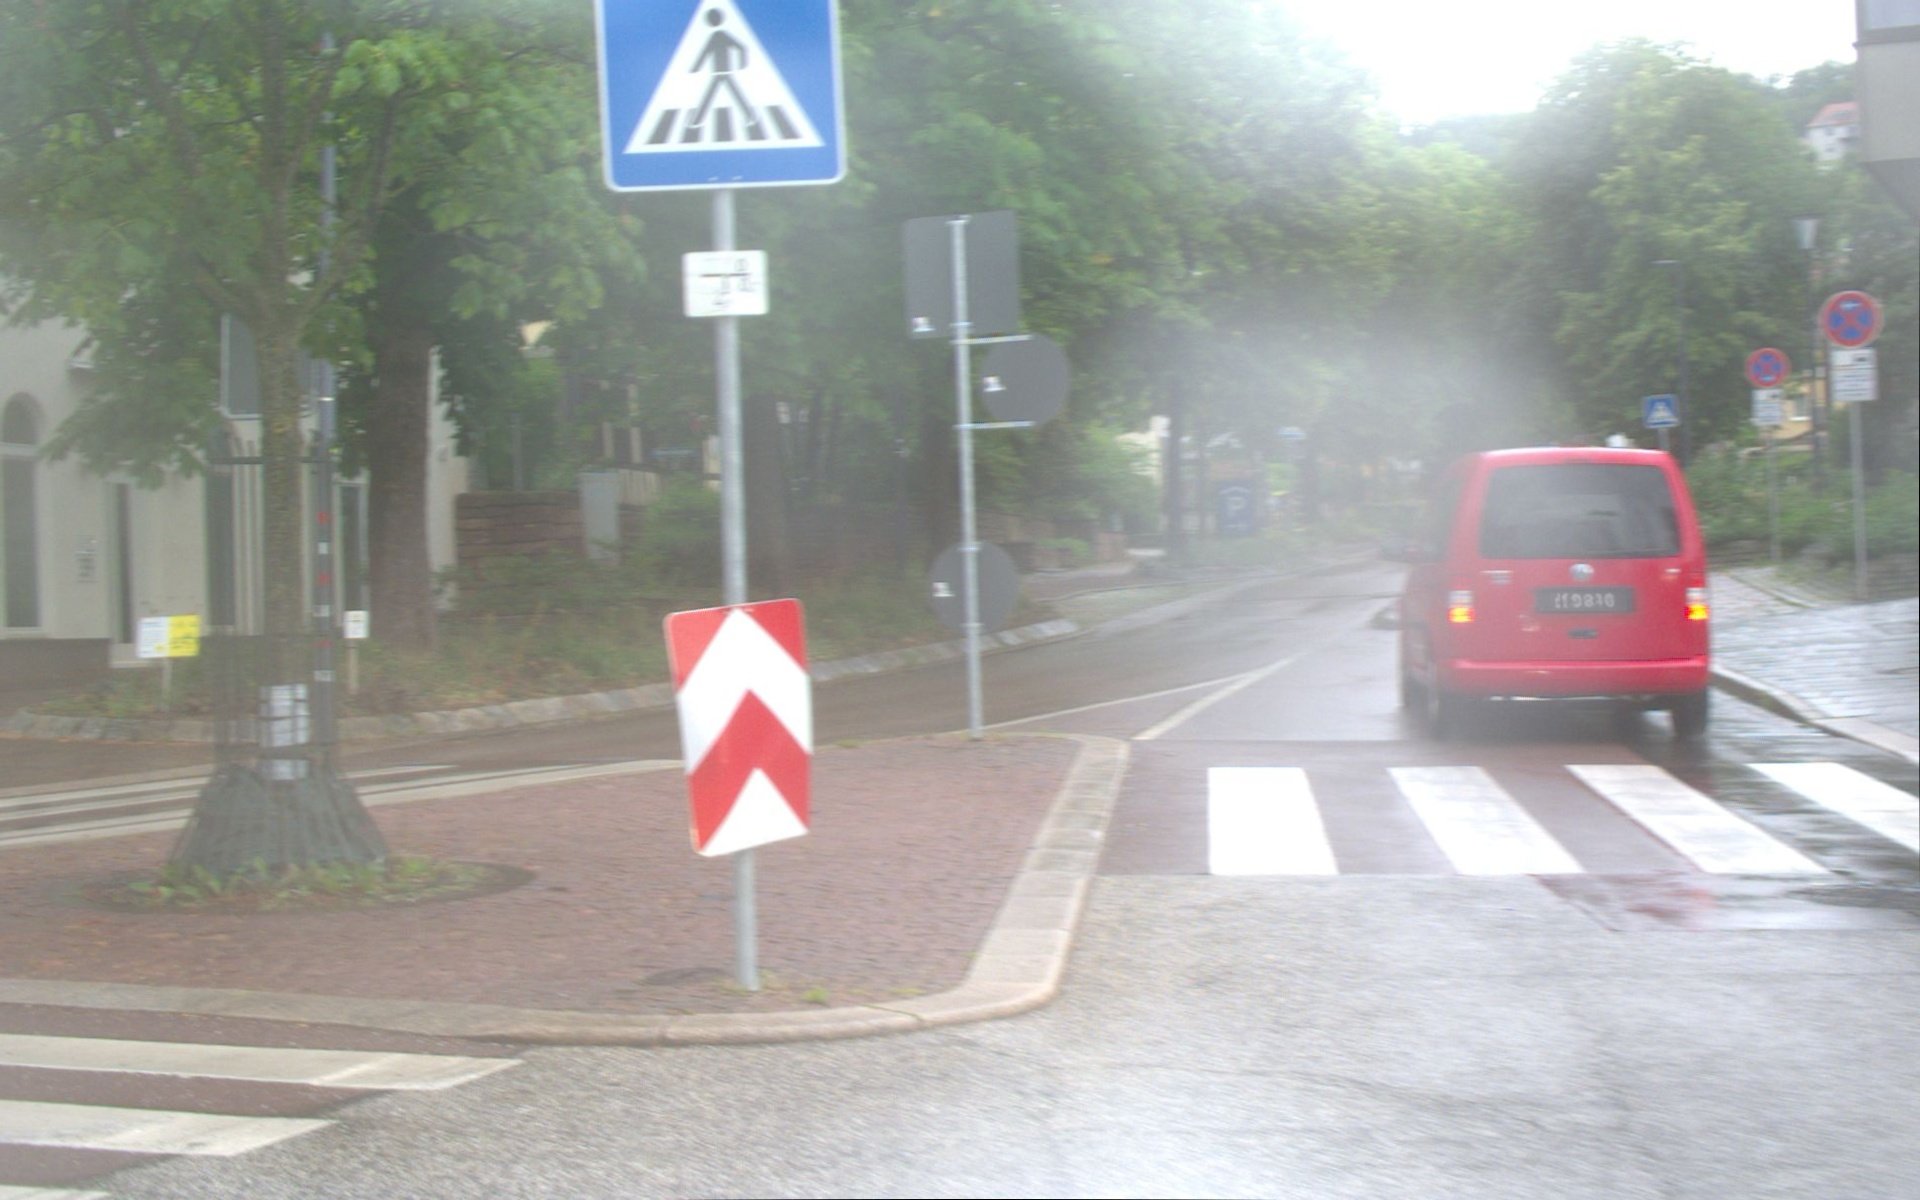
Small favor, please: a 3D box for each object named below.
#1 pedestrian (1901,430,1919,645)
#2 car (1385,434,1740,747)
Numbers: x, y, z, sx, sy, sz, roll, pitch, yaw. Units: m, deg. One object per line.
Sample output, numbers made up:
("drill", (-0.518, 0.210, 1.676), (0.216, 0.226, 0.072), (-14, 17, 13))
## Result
("pedestrian", (8.597, -0.552, 29.486), (0.835, 1.824, 0.814), (-3, 0, 22))
("car", (3.894, -0.083, 22.853), (1.862, 1.824, 4.184), (-2, 1, 4))
